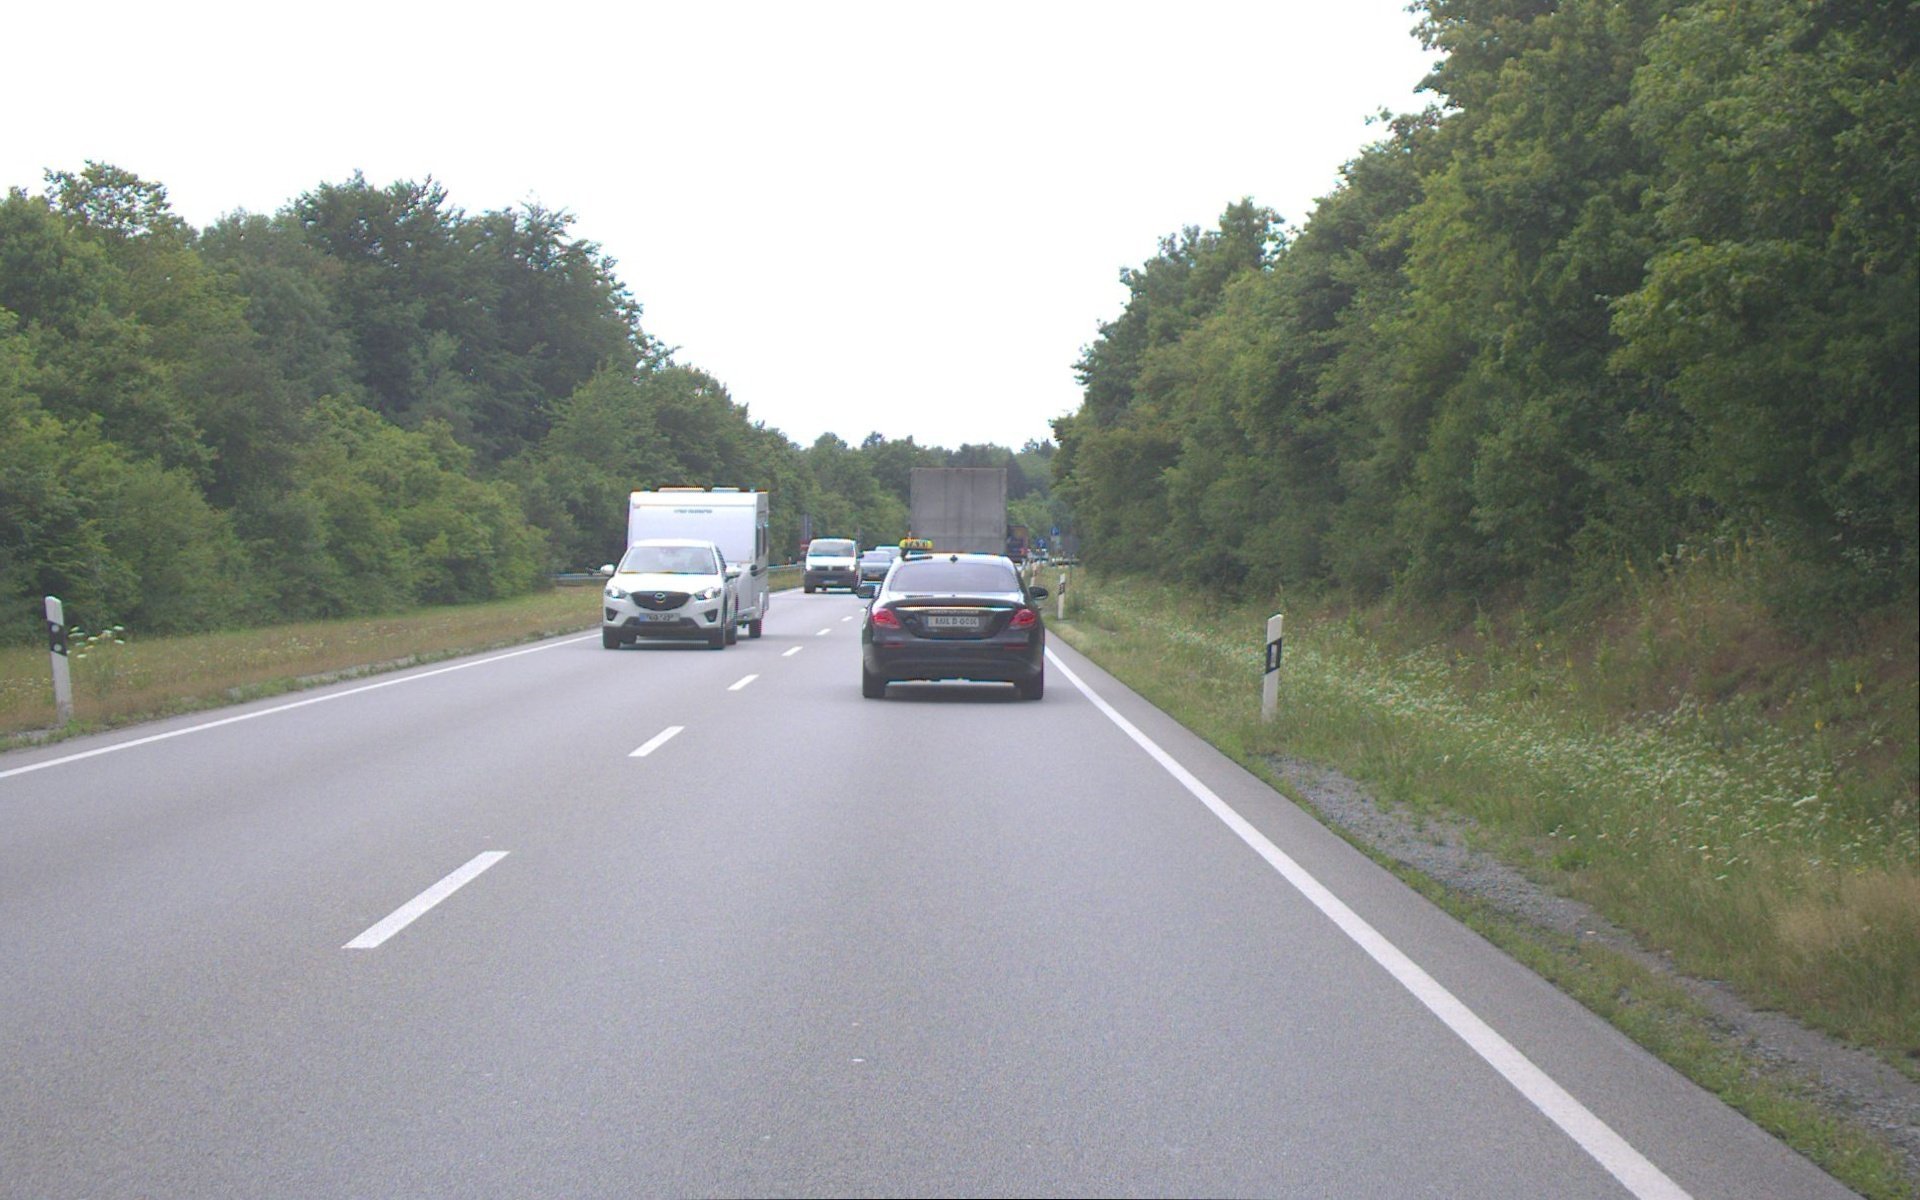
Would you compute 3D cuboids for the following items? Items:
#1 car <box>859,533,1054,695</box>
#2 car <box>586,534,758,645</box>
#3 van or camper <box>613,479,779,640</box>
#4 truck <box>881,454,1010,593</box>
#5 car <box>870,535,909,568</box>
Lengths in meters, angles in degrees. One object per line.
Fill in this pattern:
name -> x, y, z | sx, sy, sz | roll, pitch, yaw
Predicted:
car -> -0.088, 0.109, 35.417 | 1.791, 1.546, 4.001 | 1, 1, -3
car -> -4.377, -0.185, 53.002 | 2.279, 1.598, 4.692 | 1, 1, 0
van or camper -> -4.430, -0.693, 58.575 | 2.380, 2.566, 6.280 | 1, 1, -1
truck -> -0.300, -2.091, 96.169 | 3.281, 3.599, 11.400 | 1, 1, 1
car -> -3.202, -2.198, 156.963 | 1.688, 1.474, 4.456 | 1, 1, 0
